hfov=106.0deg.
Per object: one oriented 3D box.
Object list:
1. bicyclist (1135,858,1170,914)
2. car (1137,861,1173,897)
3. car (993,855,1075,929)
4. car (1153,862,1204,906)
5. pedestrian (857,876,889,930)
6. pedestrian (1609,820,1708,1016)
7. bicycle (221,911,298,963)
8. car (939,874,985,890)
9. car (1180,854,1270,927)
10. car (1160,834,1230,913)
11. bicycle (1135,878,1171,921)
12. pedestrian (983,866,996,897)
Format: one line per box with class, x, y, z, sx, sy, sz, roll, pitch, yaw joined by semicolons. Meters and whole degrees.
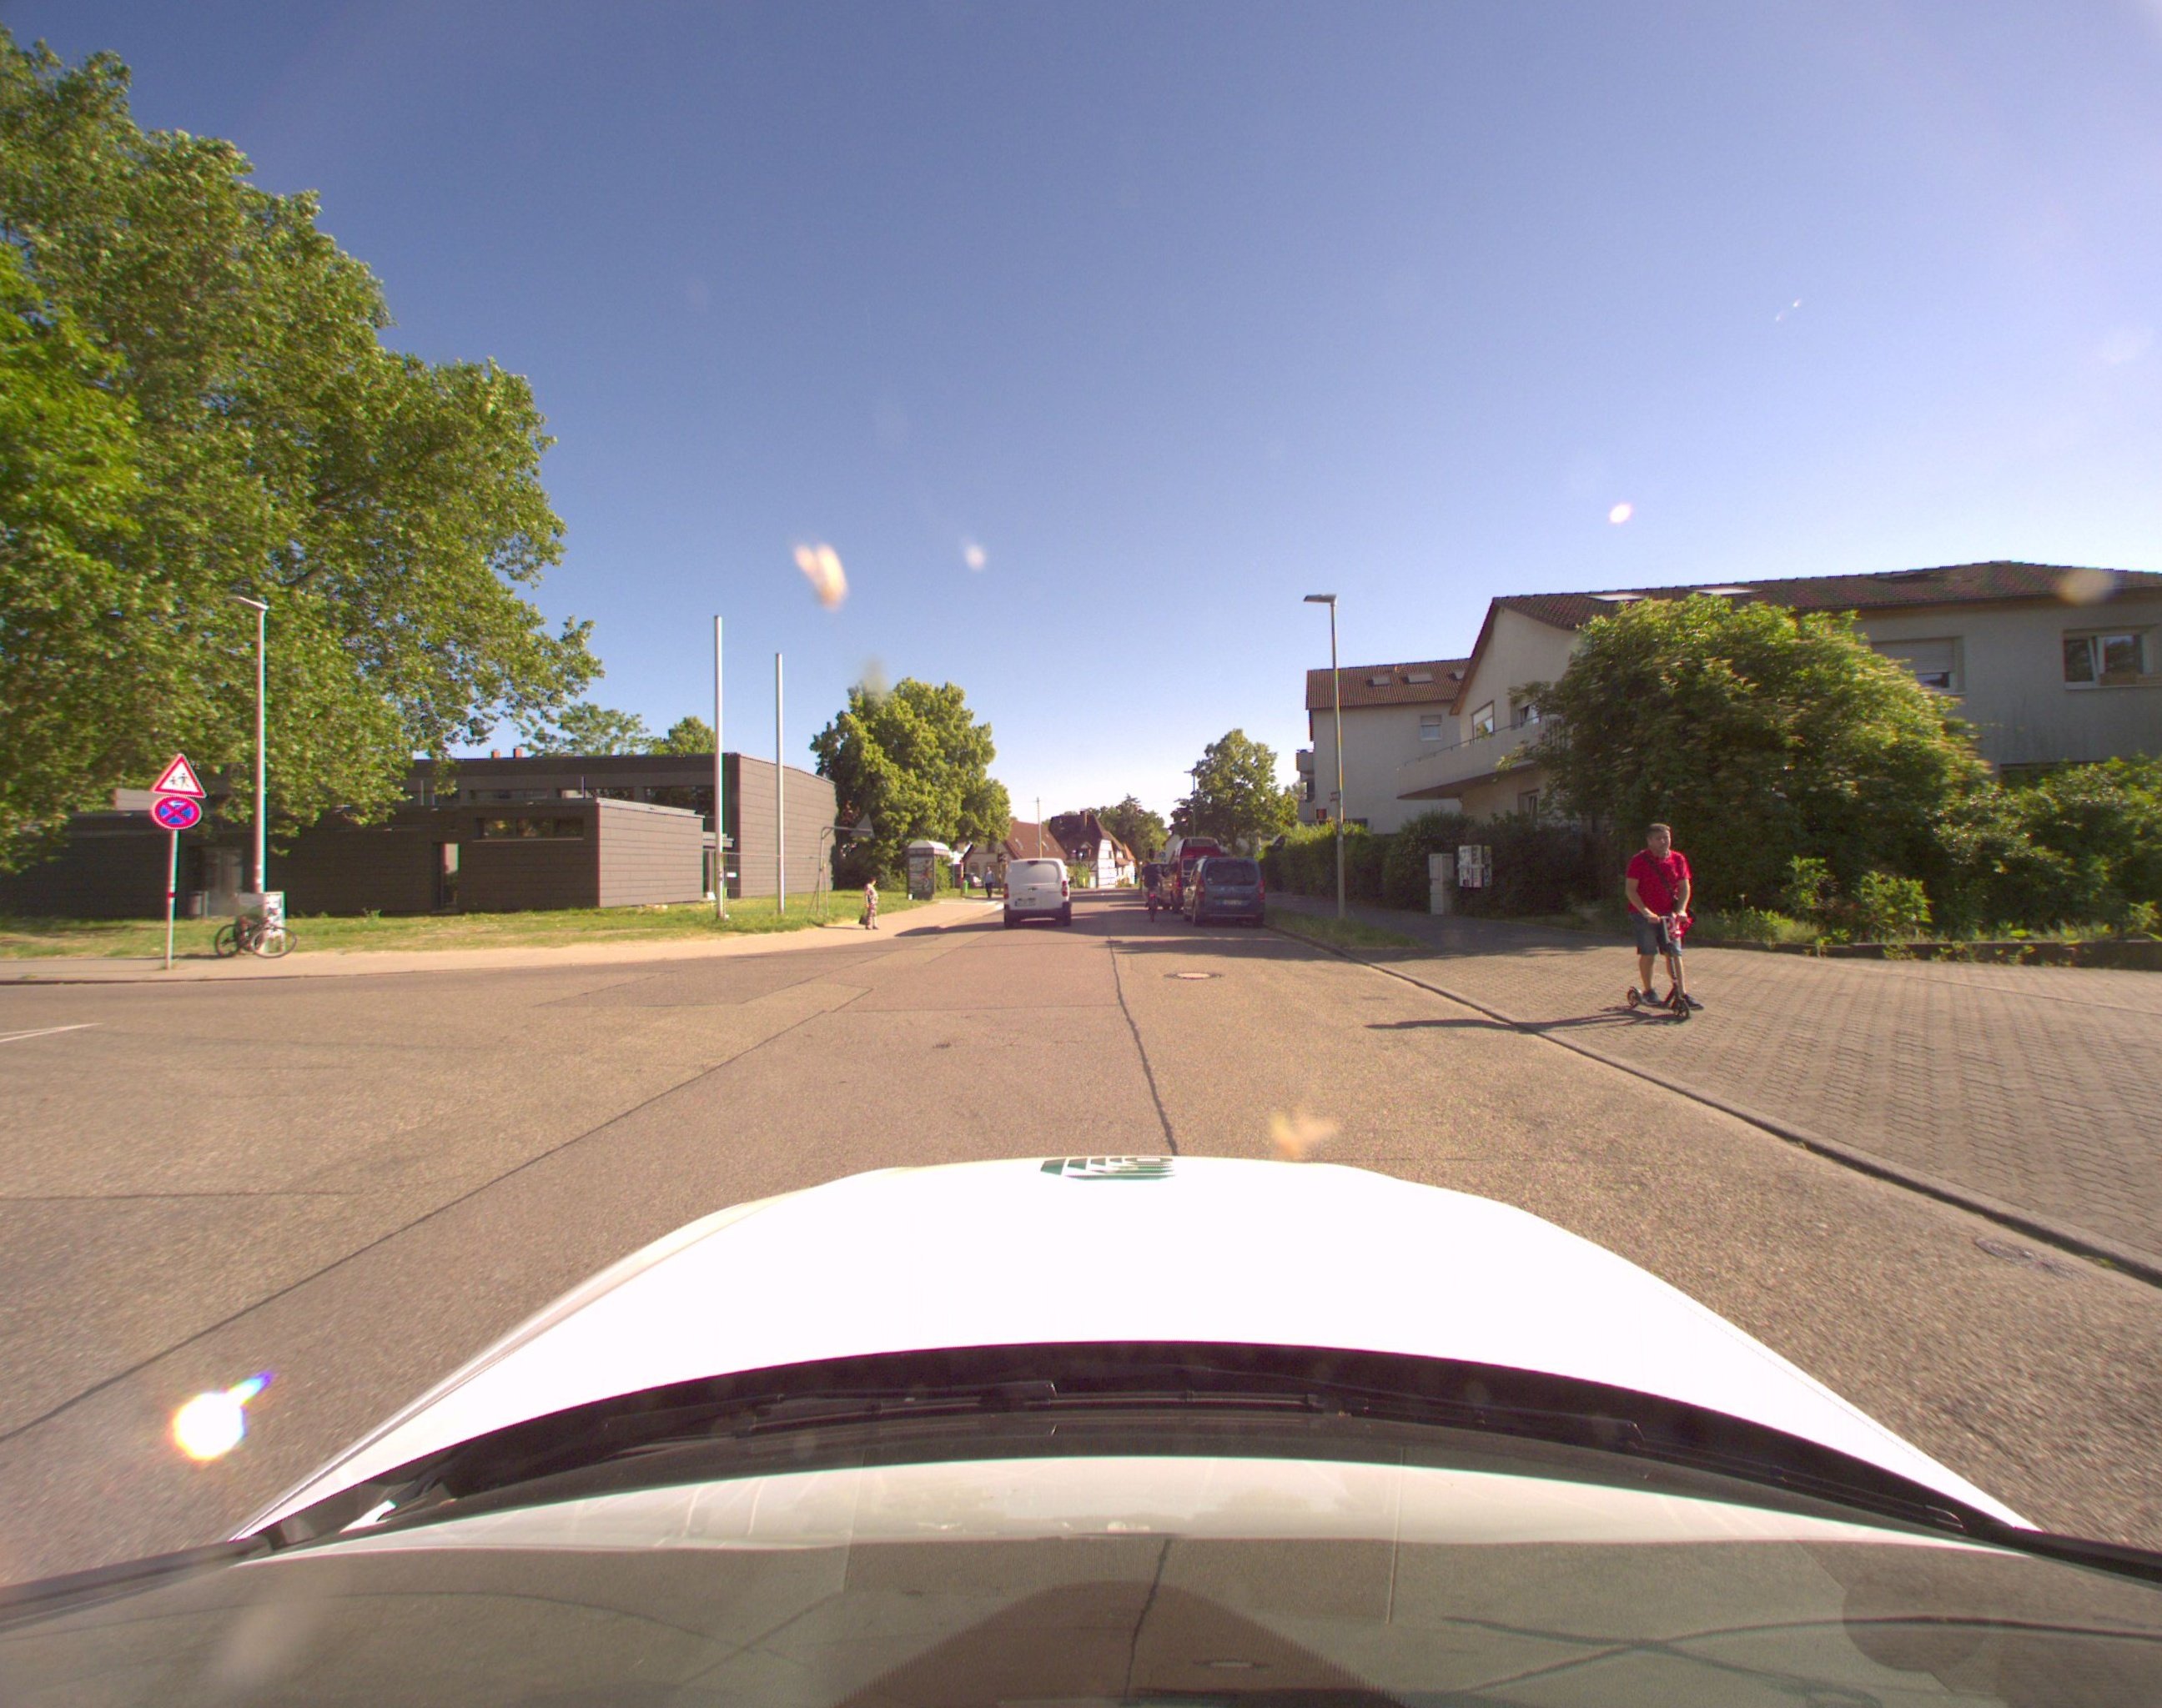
bicyclist;2.069;0.917;23.719;0.902;1.584;0.966;-1;-2;0
car;4.384;1.479;48.538;1.798;2.069;4.000;1;-2;1
car;-1.222;1.001;23.141;1.986;1.882;4.289;-1;-1;1
car;4.236;1.307;35.747;1.798;1.786;4.000;1;-2;1
pedestrian;-5.717;1.341;22.408;0.504;1.446;0.643;1;-1;35
pedestrian;5.649;0.608;7.989;0.482;1.831;0.486;-4;-1;0
bicycle;-16.213;1.627;16.100;1.025;0.887;0.434;-2;0;-42
car;-11.448;2.673;78.304;3.944;1.429;1.724;-1;-1;19
car;3.817;0.965;22.213;1.798;1.786;4.000;1;-2;1
car;3.979;0.718;29.161;1.860;2.563;4.767;1;-2;1
bicycle;2.071;1.303;23.742;0.784;1.138;2.278;-1;-1;-1
pedestrian;-5.300;1.595;47.063;0.619;1.805;0.640;-1;-2;0
